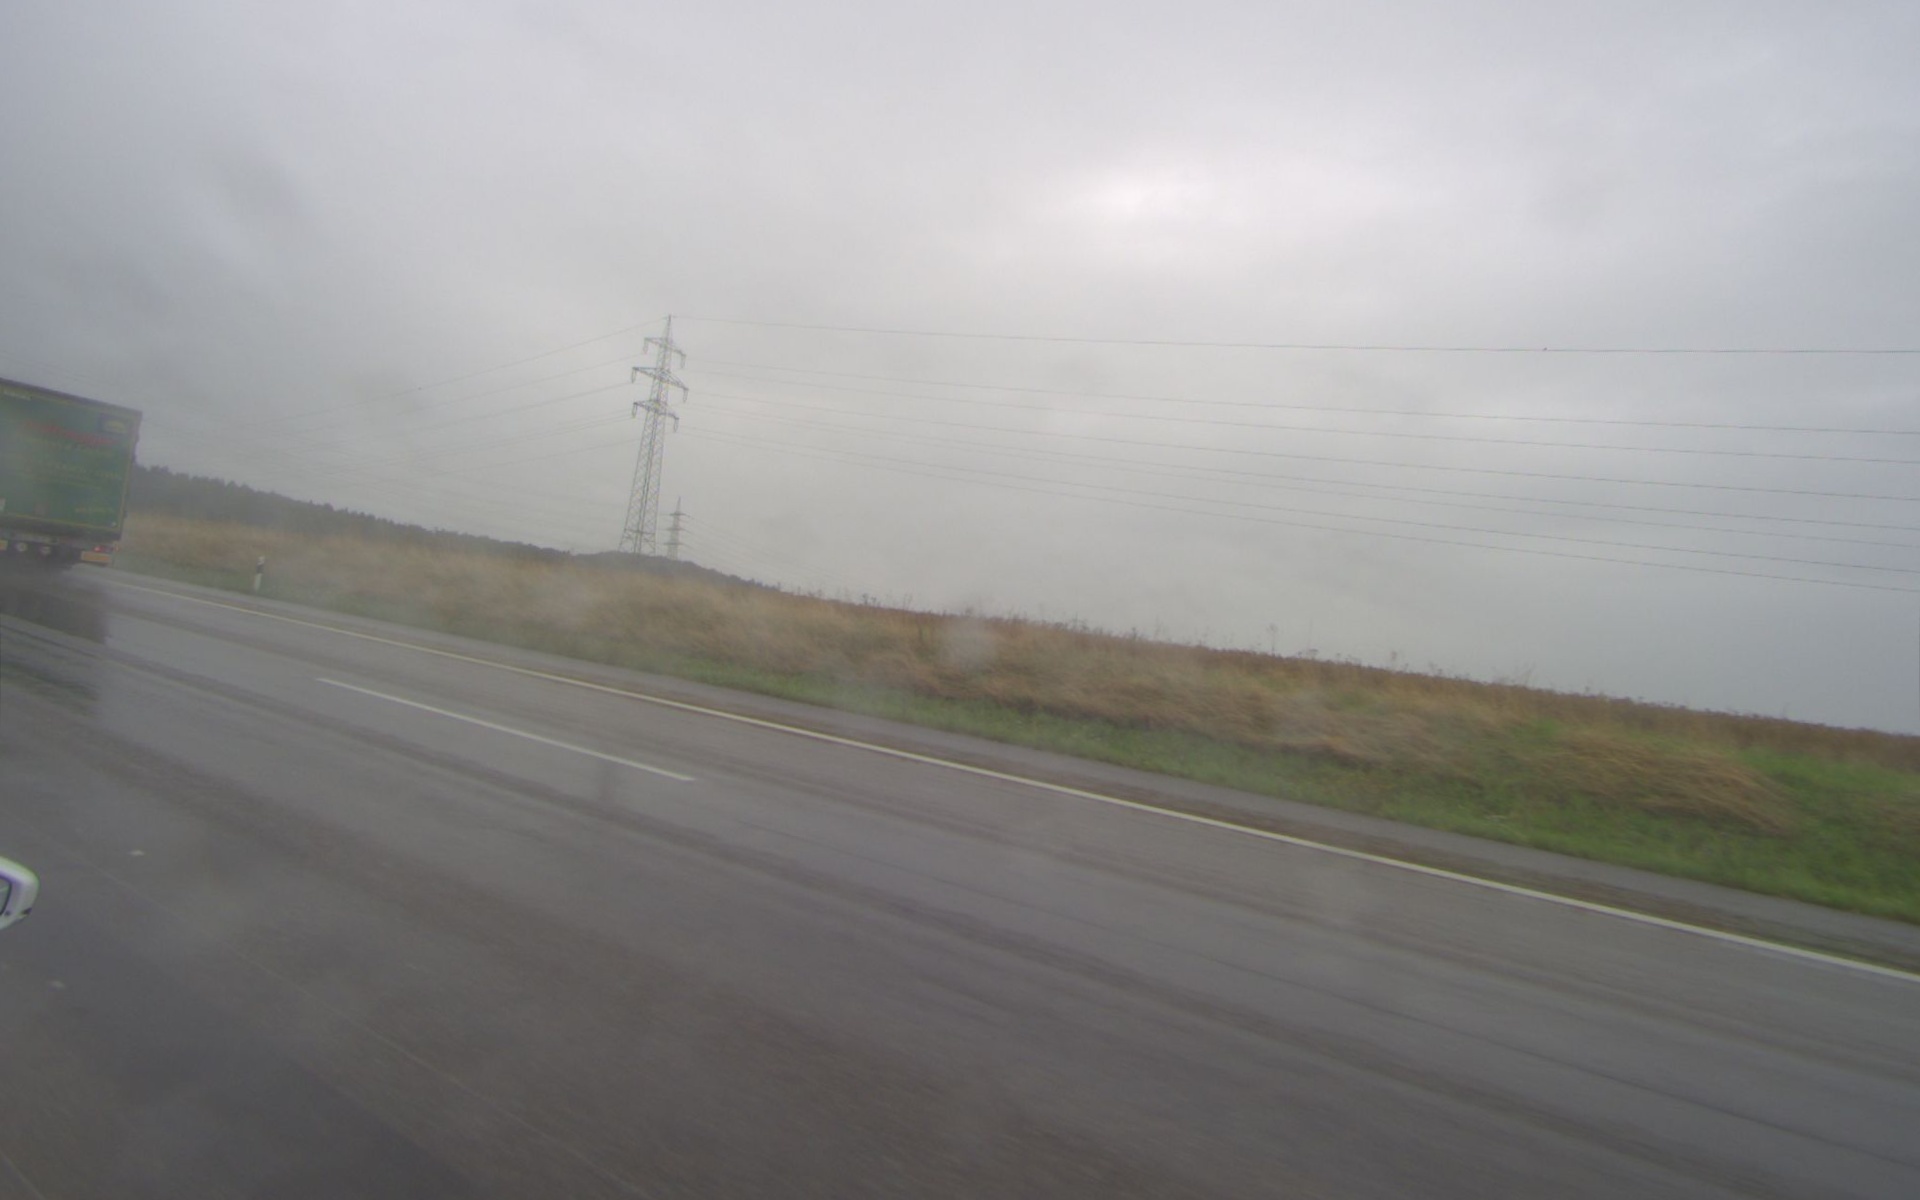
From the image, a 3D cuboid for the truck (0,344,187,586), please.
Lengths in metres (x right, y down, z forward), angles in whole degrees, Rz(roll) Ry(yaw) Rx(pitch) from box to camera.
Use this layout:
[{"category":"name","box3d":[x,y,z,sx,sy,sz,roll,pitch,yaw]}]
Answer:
[{"category":"truck","box3d":[-26.172,-3.670,26.072,15.840,4.684,4.196,7,-1,32]}]
